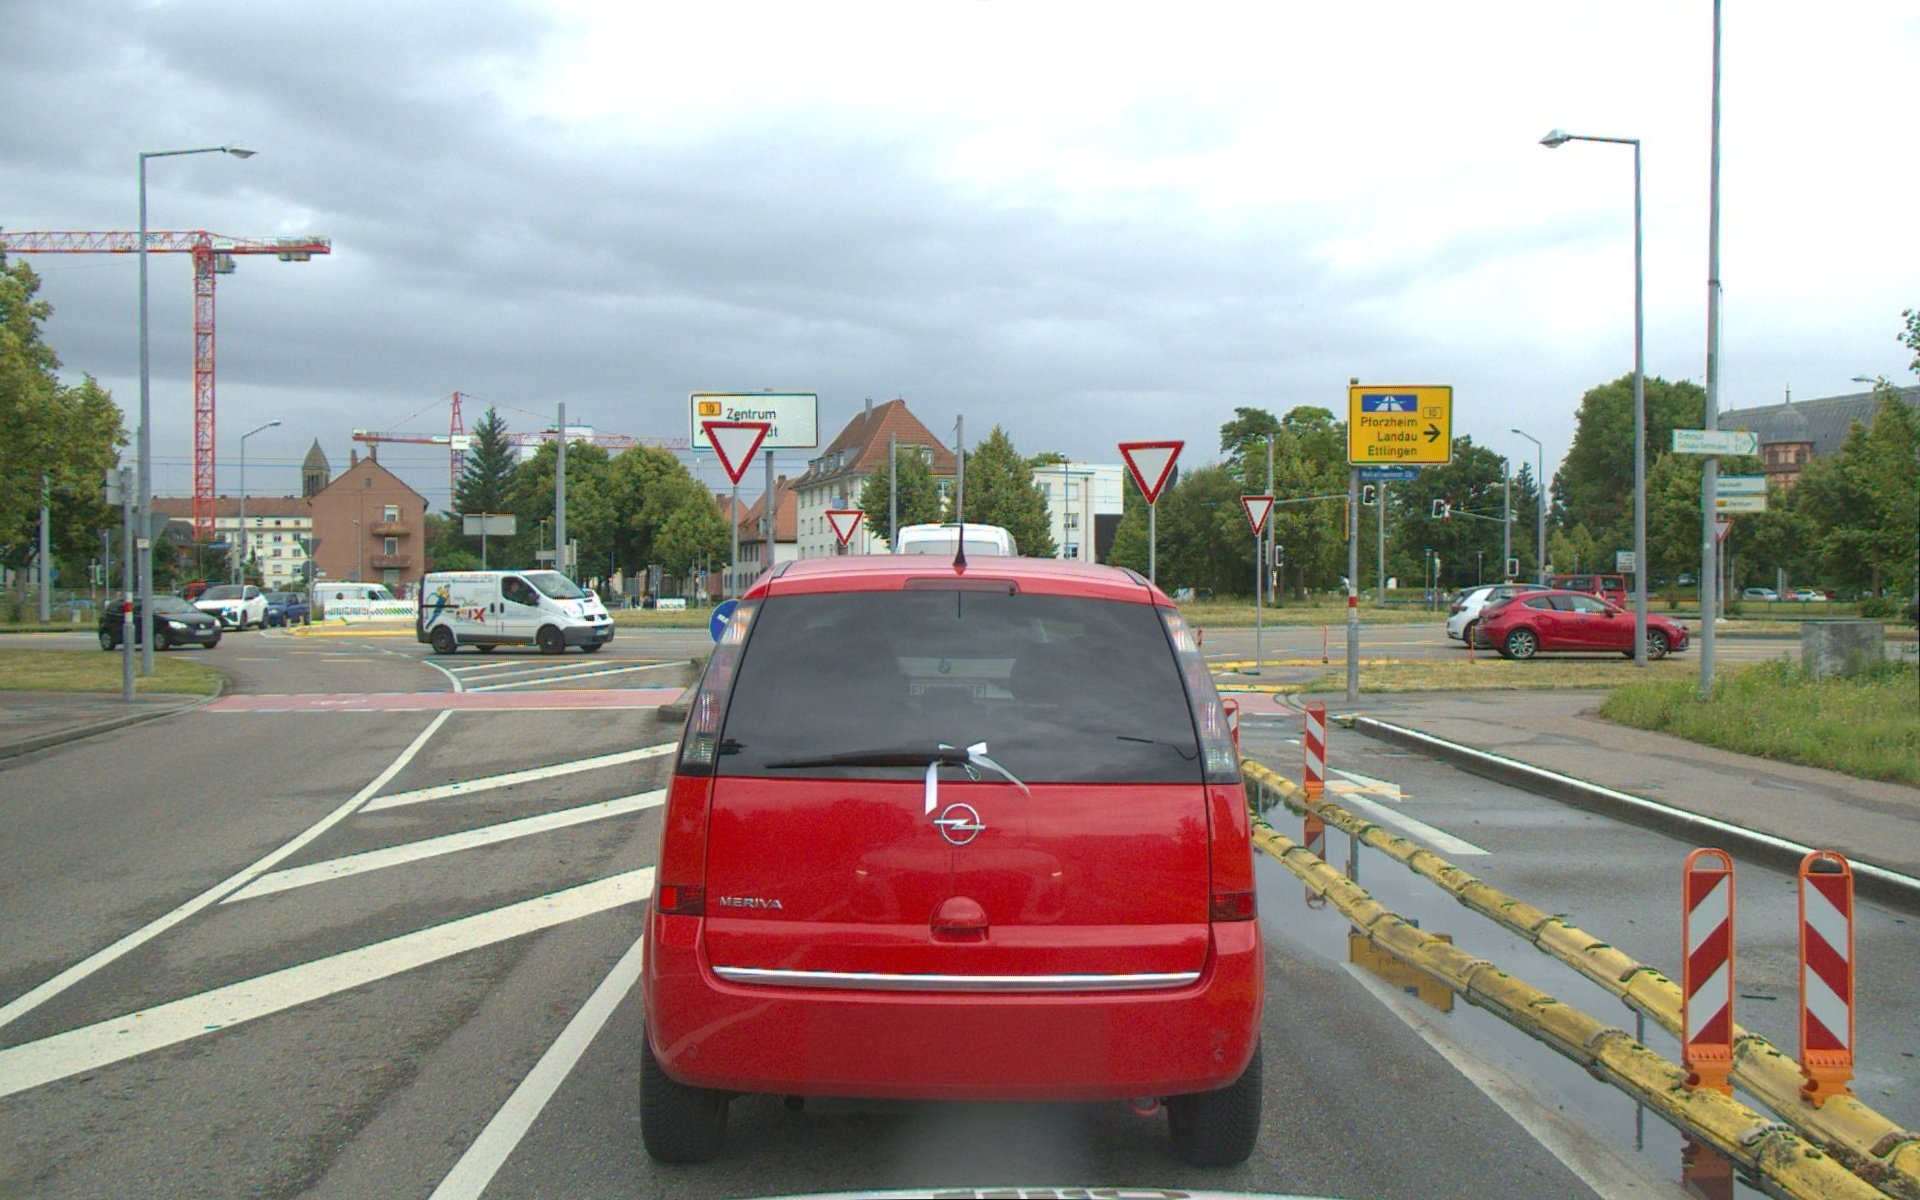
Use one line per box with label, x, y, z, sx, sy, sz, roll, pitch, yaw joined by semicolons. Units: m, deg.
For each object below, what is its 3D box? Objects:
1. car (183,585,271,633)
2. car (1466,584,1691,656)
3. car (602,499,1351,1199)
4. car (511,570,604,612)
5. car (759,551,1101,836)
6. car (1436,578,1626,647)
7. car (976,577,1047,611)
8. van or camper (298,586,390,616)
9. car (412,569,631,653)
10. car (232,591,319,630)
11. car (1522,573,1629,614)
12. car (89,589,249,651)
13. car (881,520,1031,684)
car;-26.917;0.304;60.882;1.895;1.713;4.181;-1;0;-9
car;13.298;0.411;35.822;4.250;1.489;2.002;0;0;10
car;0.012;0.609;5.475;1.639;1.669;3.626;1;0;-1
car;-20.445;-0.458;84.171;1.959;2.049;4.466;0;0;34
car;-0.214;0.541;12.172;2.018;1.676;4.606;1;0;-1
car;13.332;0.279;38.822;3.902;1.534;2.002;0;0;7
car;3.240;-0.380;102.904;4.370;2.049;2.001;-1;0;2
van or camper;-44.520;0.075;119.643;6.045;2.049;2.002;0;0;10
car;-10.555;0.266;39.850;4.732;1.933;2.099;0;0;20
car;-27.802;0.403;67.284;1.891;1.515;4.000;-1;0;-1
car;29.930;-0.313;80.582;2.083;1.951;4.850;-1;0;-26
car;-21.874;0.535;45.691;4.349;1.630;2.092;0;0;34
car;0.039;0.007;28.916;2.149;2.584;4.965;1;0;5
